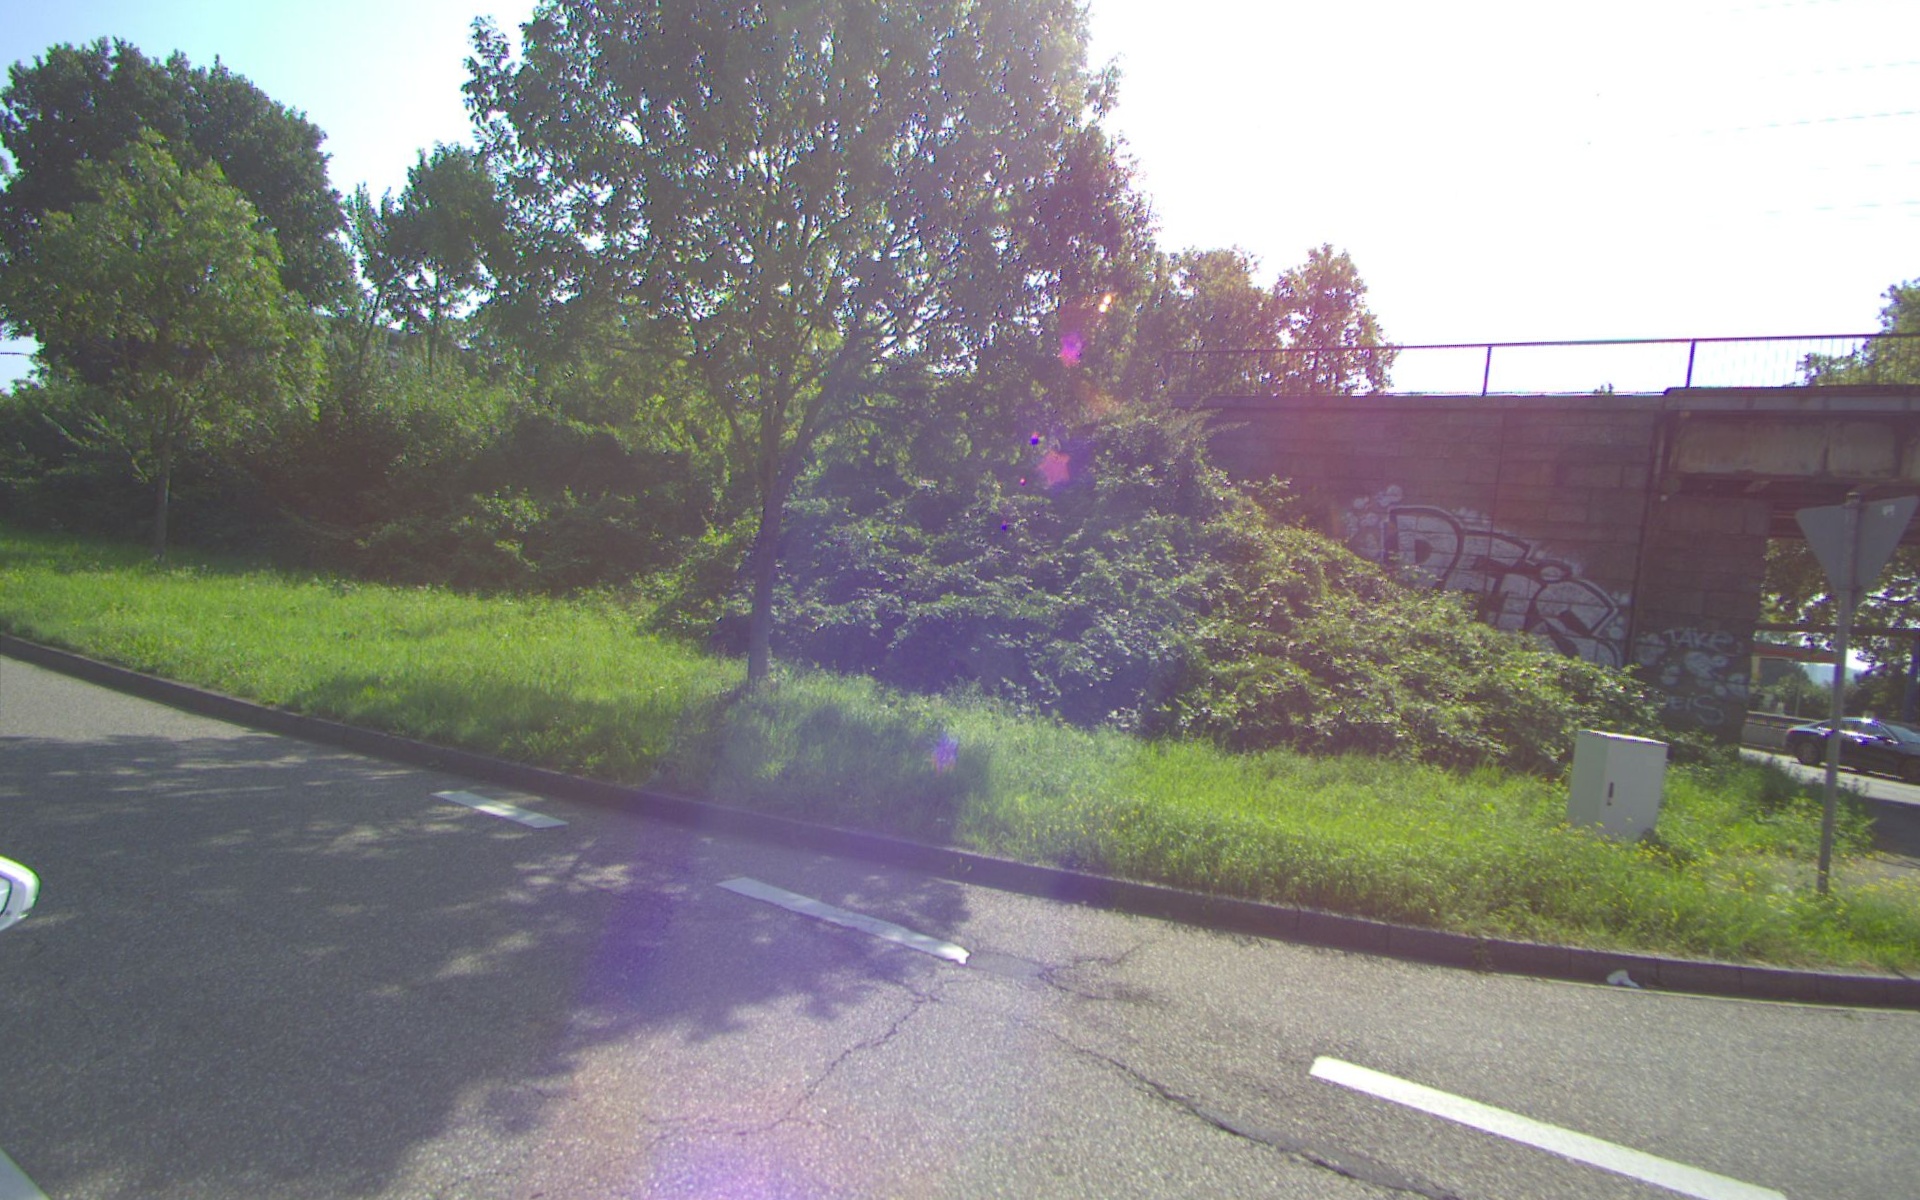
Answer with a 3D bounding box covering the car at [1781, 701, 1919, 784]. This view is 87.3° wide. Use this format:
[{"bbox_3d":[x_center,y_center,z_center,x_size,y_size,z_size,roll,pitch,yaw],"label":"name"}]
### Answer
[{"bbox_3d":[22.921,3.547,24.585,1.825,1.502,4.178,5,1,-8],"label":"car"}]
